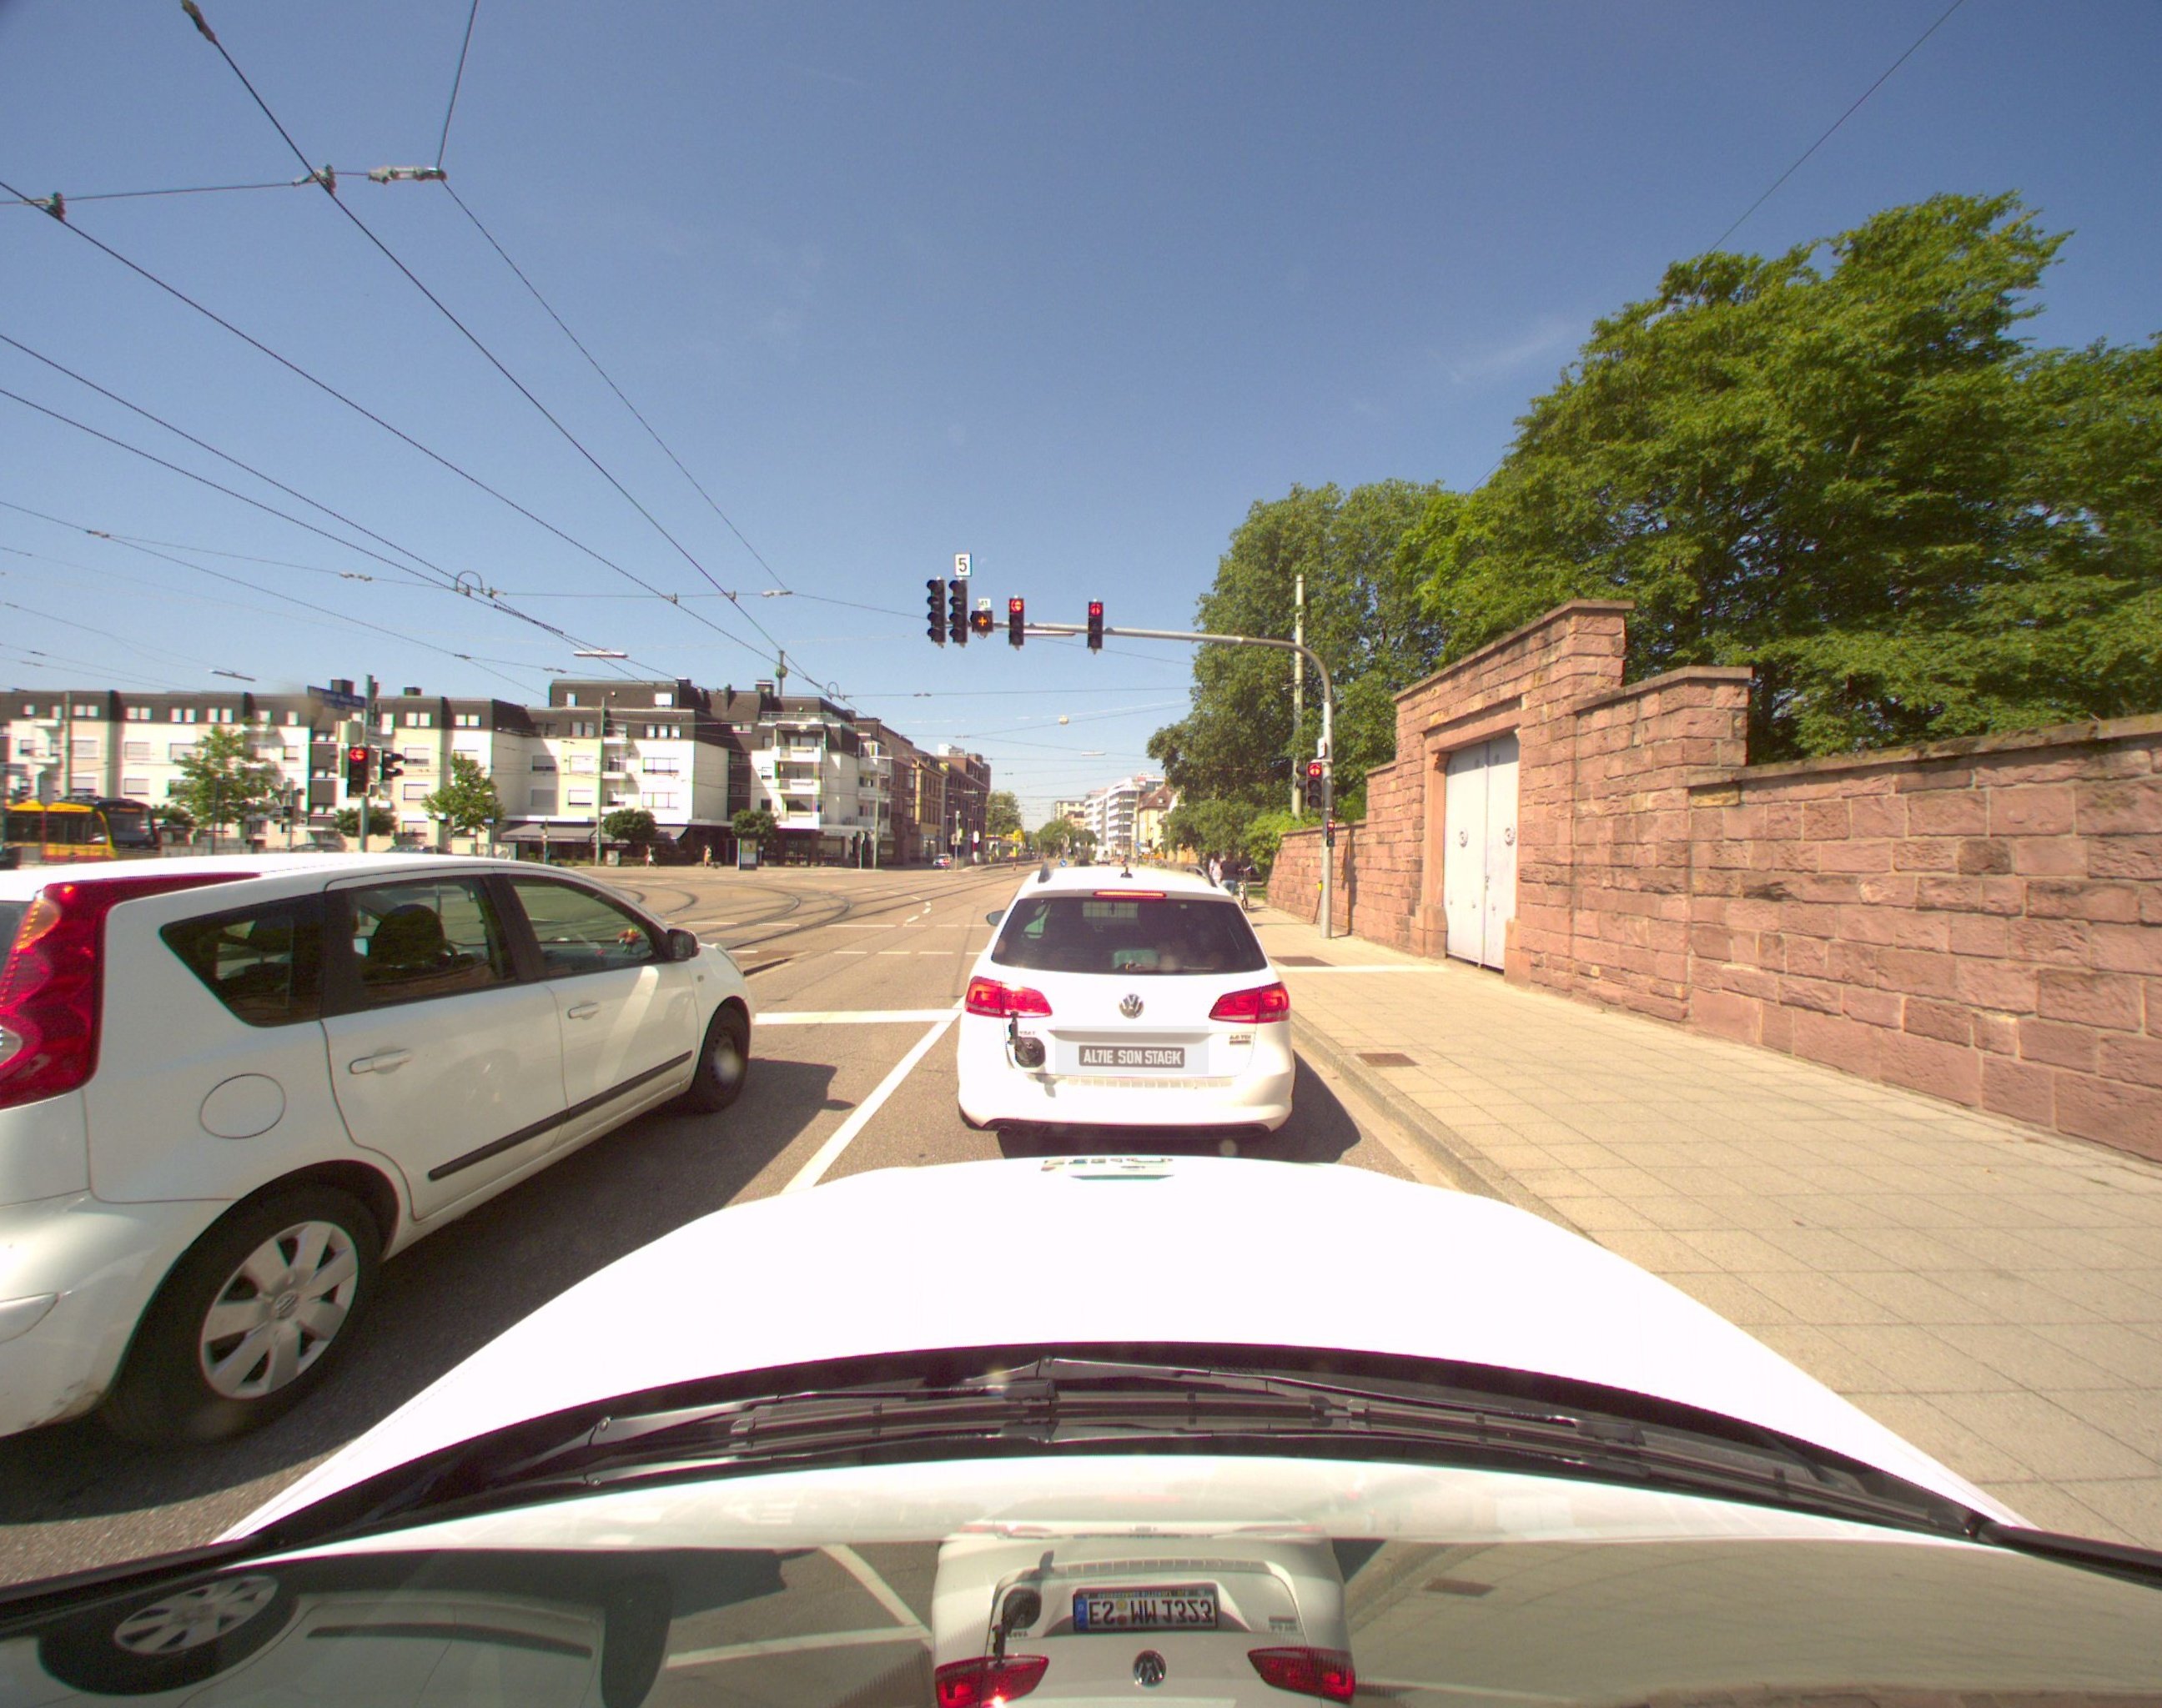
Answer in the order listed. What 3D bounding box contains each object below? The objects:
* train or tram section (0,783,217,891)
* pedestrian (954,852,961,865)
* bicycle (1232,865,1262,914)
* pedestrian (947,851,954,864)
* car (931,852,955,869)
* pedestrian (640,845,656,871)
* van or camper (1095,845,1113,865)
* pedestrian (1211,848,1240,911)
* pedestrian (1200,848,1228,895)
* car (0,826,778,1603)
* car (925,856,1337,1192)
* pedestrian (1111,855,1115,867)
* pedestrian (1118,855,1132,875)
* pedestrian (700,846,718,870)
[{"bbox_3d":[-54.720,-0.690,41.519,16.149,5.150,4.735,-1,-1,0],"label":"train or tram section"},{"bbox_3d":[-17.817,0.632,117.175,0.860,1.743,0.973,-1,-1,-4],"label":"pedestrian"},{"bbox_3d":[4.260,0.874,20.849,0.703,1.090,2.033,-1,2,12],"label":"bicycle"},{"bbox_3d":[-17.638,0.436,110.278,0.860,1.743,0.973,-1,-1,-4],"label":"pedestrian"},{"bbox_3d":[-13.700,0.665,80.886,1.736,1.618,3.997,-1,-1,-1],"label":"car"},{"bbox_3d":[-30.506,0.283,57.327,0.977,1.743,0.856,0,-1,-28],"label":"pedestrian"},{"bbox_3d":[3.588,0.217,129.345,2.559,3.093,5.700,-1,-1,-1],"label":"van or camper"},{"bbox_3d":[3.723,0.645,20.968,0.668,1.571,0.751,0,0,13],"label":"pedestrian"},{"bbox_3d":[4.786,0.625,29.408,0.948,1.651,0.977,-1,-1,7],"label":"pedestrian"},{"bbox_3d":[-2.906,0.712,3.547,1.636,1.566,3.805,-1,1,1],"label":"car"},{"bbox_3d":[0.275,0.748,5.575,1.801,1.448,4.001,0,0,1],"label":"car"},{"bbox_3d":[6.184,1.313,157.391,0.687,2.325,1.233,-1,-1,3],"label":"pedestrian"},{"bbox_3d":[3.774,0.930,69.658,0.964,1.743,0.868,-1,-1,16],"label":"pedestrian"},{"bbox_3d":[-27.533,0.295,60.296,0.980,1.743,0.854,0,-2,-40],"label":"pedestrian"}]
